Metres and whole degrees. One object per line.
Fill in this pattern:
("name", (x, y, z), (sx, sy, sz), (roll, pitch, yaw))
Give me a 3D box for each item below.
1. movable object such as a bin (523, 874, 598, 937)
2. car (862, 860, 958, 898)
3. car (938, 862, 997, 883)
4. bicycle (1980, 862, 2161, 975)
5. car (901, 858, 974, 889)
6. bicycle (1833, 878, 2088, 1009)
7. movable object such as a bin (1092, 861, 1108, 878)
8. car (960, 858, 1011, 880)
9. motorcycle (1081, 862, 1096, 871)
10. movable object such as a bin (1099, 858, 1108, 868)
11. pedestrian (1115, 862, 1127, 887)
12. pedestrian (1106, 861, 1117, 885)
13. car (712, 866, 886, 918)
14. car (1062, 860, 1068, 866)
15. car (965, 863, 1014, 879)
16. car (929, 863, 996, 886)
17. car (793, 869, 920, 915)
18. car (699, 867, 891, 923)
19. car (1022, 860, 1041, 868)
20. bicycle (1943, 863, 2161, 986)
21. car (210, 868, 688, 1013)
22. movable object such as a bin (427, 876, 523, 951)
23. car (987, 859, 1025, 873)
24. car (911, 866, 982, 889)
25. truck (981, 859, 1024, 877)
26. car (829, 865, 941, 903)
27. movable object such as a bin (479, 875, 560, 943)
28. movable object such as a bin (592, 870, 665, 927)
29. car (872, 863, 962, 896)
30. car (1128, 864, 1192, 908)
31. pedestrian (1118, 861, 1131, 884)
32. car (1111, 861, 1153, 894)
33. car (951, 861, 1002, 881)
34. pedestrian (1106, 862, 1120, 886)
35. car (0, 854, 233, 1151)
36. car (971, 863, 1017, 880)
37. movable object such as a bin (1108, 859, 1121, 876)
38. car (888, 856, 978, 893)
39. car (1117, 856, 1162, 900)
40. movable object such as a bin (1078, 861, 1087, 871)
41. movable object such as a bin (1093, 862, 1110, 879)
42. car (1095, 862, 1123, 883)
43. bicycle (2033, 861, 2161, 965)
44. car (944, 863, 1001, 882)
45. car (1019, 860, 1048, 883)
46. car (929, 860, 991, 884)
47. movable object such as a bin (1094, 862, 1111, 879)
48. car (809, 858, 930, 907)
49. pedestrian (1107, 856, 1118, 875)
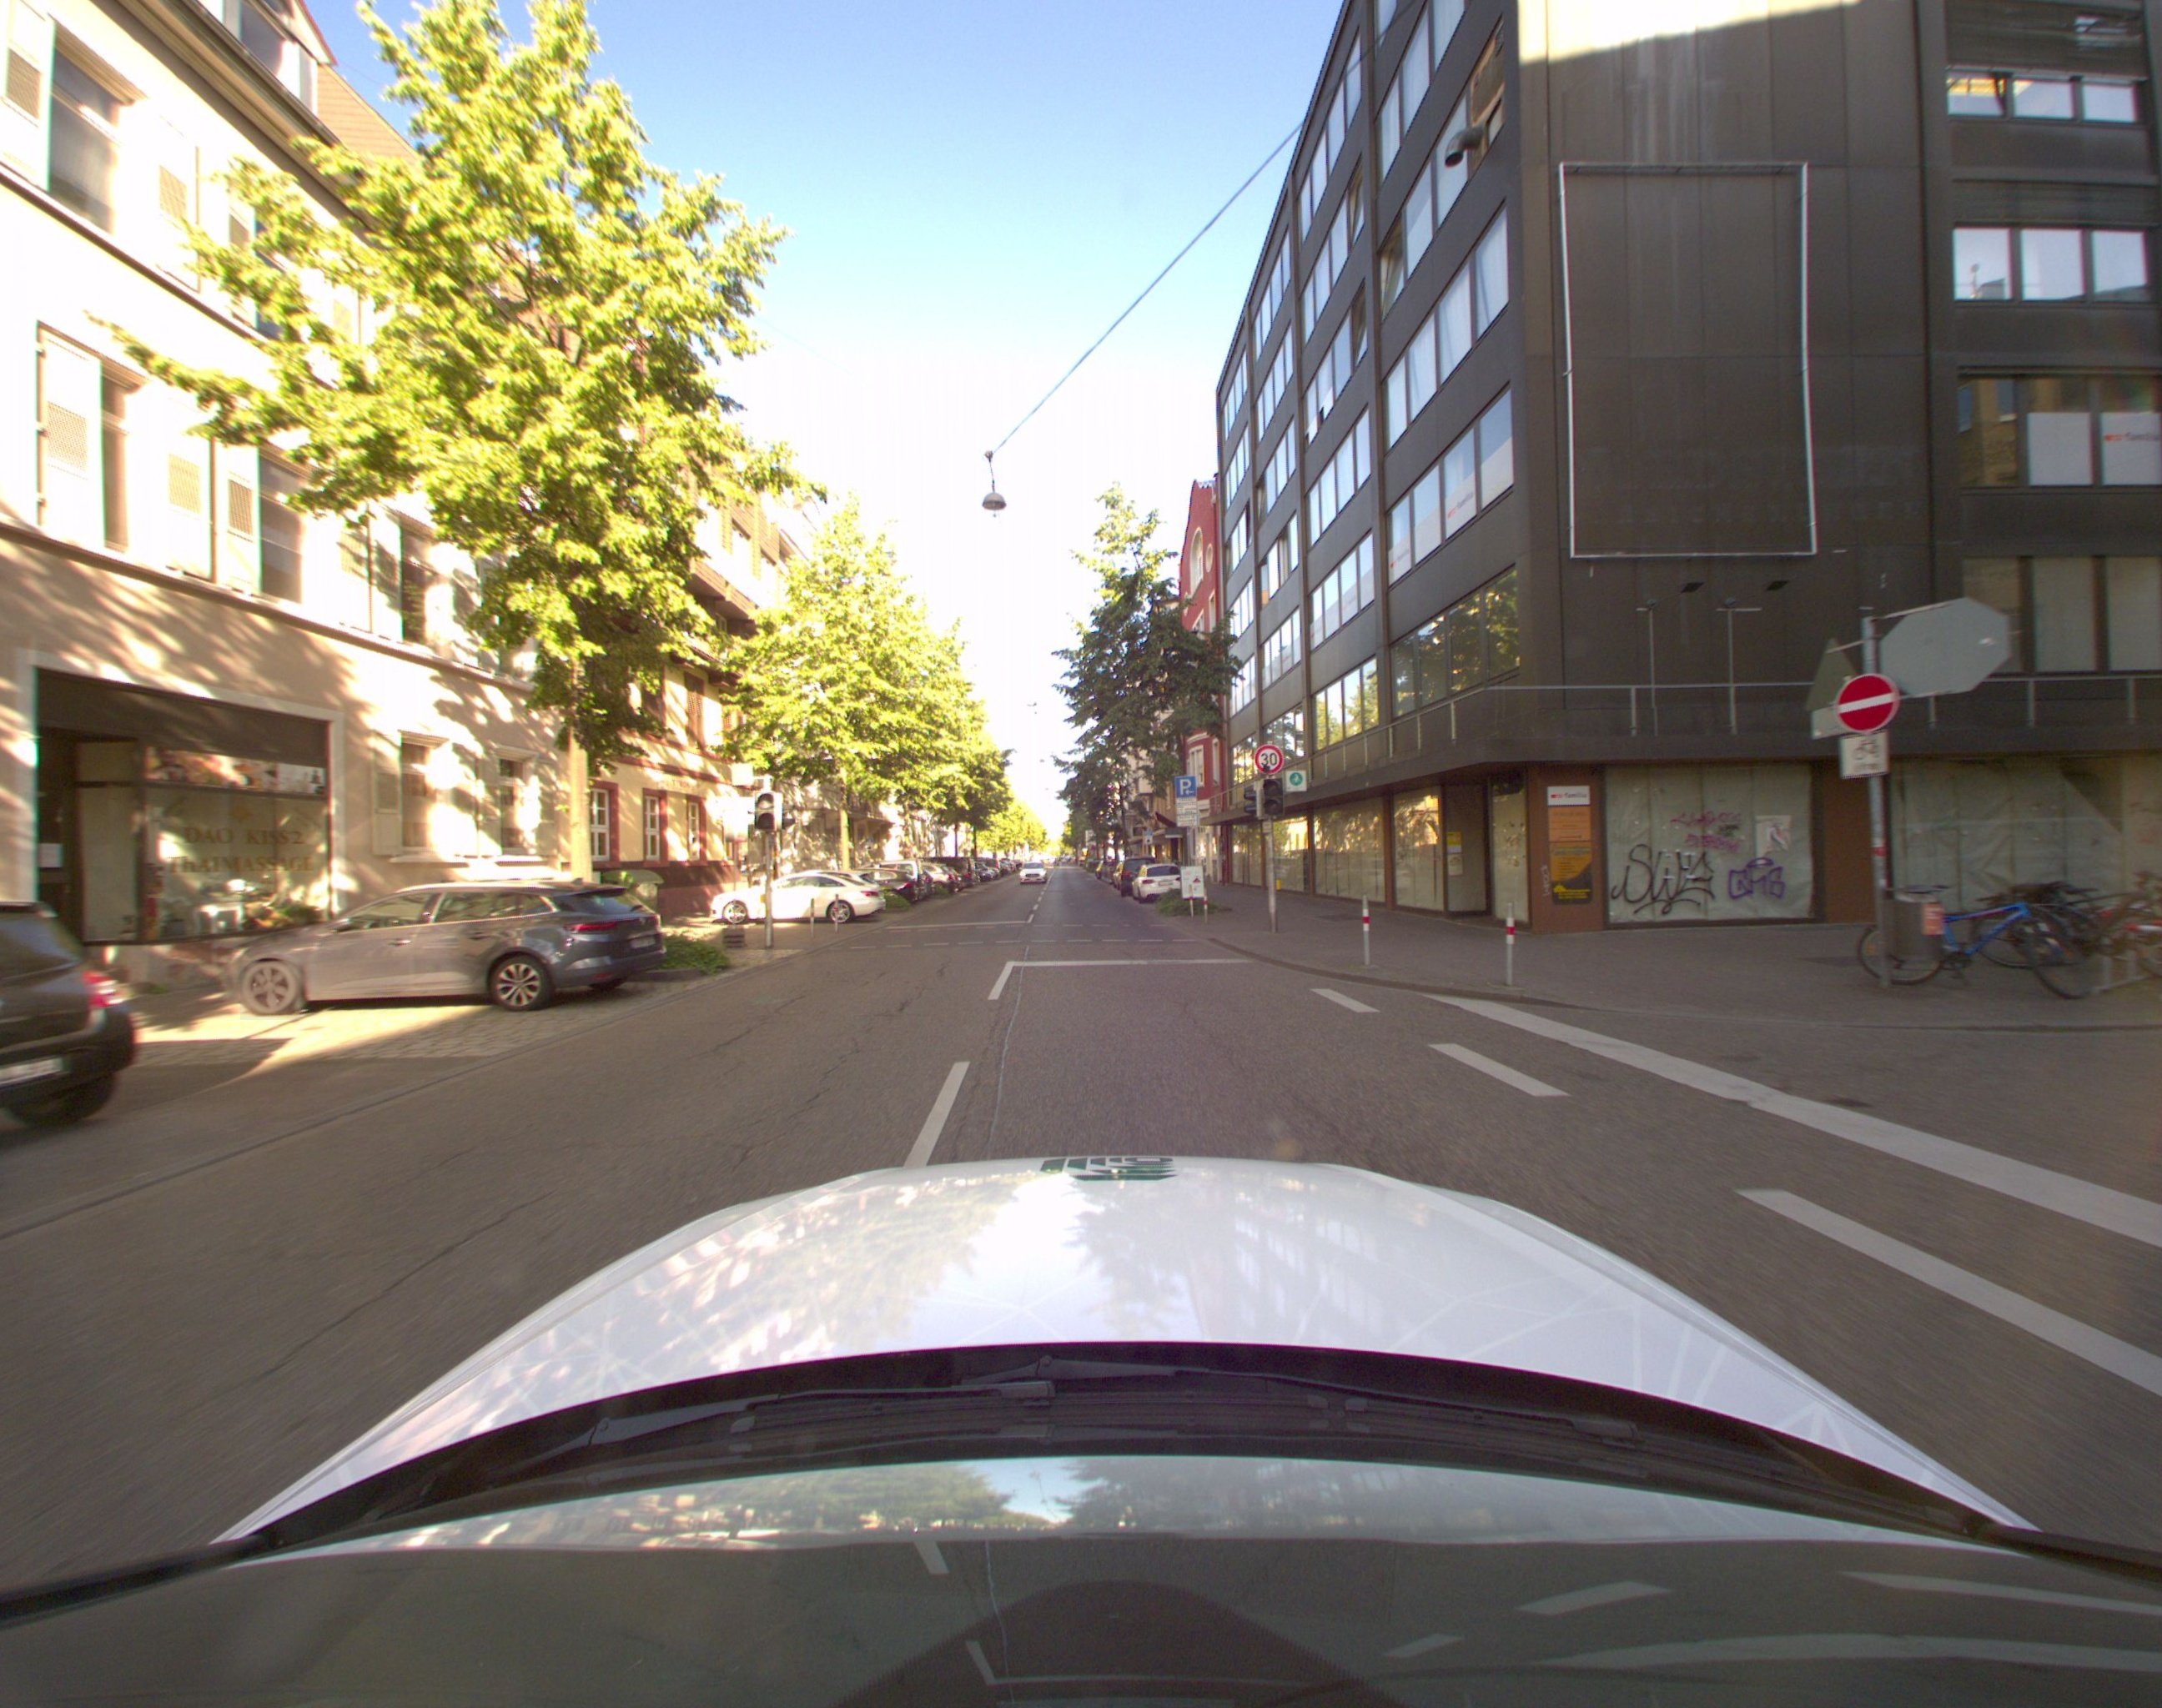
("movable object such as a bin", (-11.853, 1.145, 18.592), (0.814, 1.362, 1.346), (-1, -1, 2))
("car", (-8.329, 1.205, 39.878), (4.330, 1.733, 1.914), (-1, -1, -4))
("car", (-9.059, 1.469, 65.169), (4.455, 1.541, 1.915), (-1, -1, -3))
("bicycle", (11.605, 0.710, 9.160), (0.575, 1.132, 1.908), (-1, 2, -30))
("car", (-8.804, 1.169, 49.986), (4.342, 1.834, 1.909), (-1, -1, -12))
("bicycle", (8.915, 0.850, 8.338), (0.576, 1.161, 1.724), (-1, 0, -41))
("movable object such as a bin", (1.744, 1.422, 74.344), (1.327, 1.542, 1.145), (-2, -1, -2))
("car", (-9.039, 1.420, 77.332), (4.666, 1.950, 1.916), (-1, -1, -1))
("motorcycle", (1.123, 1.875, 122.183), (1.980, 1.330, 0.907), (-1, 0, -14))
("movable object such as a bin", (3.571, 1.427, 130.045), (1.203, 1.627, 1.496), (-2, -1, -3))
("pedestrian", (2.591, 1.314, 52.321), (0.690, 1.536, 0.776), (-2, -1, -1))
("pedestrian", (2.059, 1.278, 54.719), (0.649, 1.536, 0.979), (-2, -1, -3))
("car", (-8.574, 1.150, 25.139), (4.694, 1.492, 1.996), (0, 0, -7))
("car", (-4.338, 2.471, 221.195), (1.787, 1.411, 3.997), (-2, 0, -2))
("car", (-9.076, 1.662, 80.921), (4.633, 1.459, 1.682), (-1, -1, -2))
("car", (-8.417, 1.478, 58.240), (4.451, 1.541, 1.916), (-1, -1, 0))
("car", (-8.137, 1.338, 29.842), (4.344, 1.544, 1.955), (-1, -1, -14))
("car", (-7.856, 1.121, 22.812), (4.694, 1.492, 1.995), (0, -2, -7))
("car", (-11.160, 2.207, 182.931), (3.970, 1.694, 2.002), (-2, 0, 3))
("bicycle", (10.958, 0.735, 8.912), (0.575, 1.161, 1.999), (-1, 2, -30))
("car", (-7.479, 0.977, 10.010), (4.325, 1.544, 1.944), (-1, -1, 0))
("movable object such as a bin", (-11.854, 1.139, 15.986), (0.906, 1.367, 1.261), (-1, -1, 2))
("car", (-9.644, 1.580, 104.798), (4.666, 1.693, 1.807), (-1, -1, -1))
("car", (-8.710, 1.499, 52.880), (4.330, 1.439, 1.914), (-1, -1, -4))
("truck", (-9.545, 1.706, 99.304), (5.072, 1.938, 1.998), (-2, -1, -3))
("car", (-8.413, 1.263, 35.191), (4.322, 1.544, 1.918), (-1, -1, 2))
("movable object such as a bin", (-11.872, 1.145, 17.267), (0.826, 1.355, 1.249), (-1, -1, 2))
("movable object such as a bin", (-11.813, 1.140, 21.316), (1.129, 1.445, 1.382), (-1, -1, 2))
("car", (-8.444, 1.285, 42.225), (4.330, 1.595, 1.914), (-1, -1, -4))
("car", (2.947, 1.166, 31.284), (1.817, 1.402, 4.839), (-4, 0, -1))
("pedestrian", (2.904, 1.234, 54.722), (0.706, 1.536, 0.772), (-2, -1, 13))
("car", (2.696, 1.232, 44.068), (1.817, 1.596, 4.838), (-4, 0, -1))
("car", (-9.530, 1.535, 74.574), (4.452, 1.772, 1.916), (-1, -1, -1))
("pedestrian", (2.086, 1.296, 53.420), (0.744, 1.536, 0.810), (-2, -1, 13))
("car", (-7.966, 0.844, 4.674), (3.979, 1.640, 1.942), (-1, -1, -4))
("car", (-9.176, 1.835, 86.320), (4.666, 1.712, 1.807), (-1, -1, -1))
("movable object such as a bin", (3.043, 1.226, 74.397), (1.074, 1.431, 1.294), (-2, -1, -2))
("car", (-8.105, 1.130, 44.816), (4.558, 1.927, 1.930), (-1, -1, 0))
("car", (2.647, 1.038, 37.705), (1.815, 1.777, 4.933), (-4, 0, 2))
("movable object such as a bin", (0.264, 1.891, 132.488), (1.136, 1.562, 1.462), (-2, -1, 7))
("movable object such as a bin", (1.820, 1.447, 73.182), (1.395, 1.454, 1.145), (-2, -1, -2))
("car", (2.127, 1.396, 63.470), (1.817, 1.472, 4.908), (-4, 0, -1))
("bicycle", (12.491, 0.687, 9.471), (0.574, 1.132, 1.731), (-1, 2, -26))
("car", (-9.030, 1.544, 67.925), (4.449, 1.541, 1.917), (-1, -1, 1))
("car", (-3.282, 1.184, 57.226), (1.905, 1.544, 4.350), (-1, -1, -2))
("car", (-8.980, 1.321, 60.710), (4.328, 1.709, 1.915), (-1, -1, -2))
("movable object such as a bin", (1.896, 1.437, 72.006), (1.395, 1.454, 1.145), (-2, -1, -2))
("car", (-8.383, 1.123, 32.560), (4.325, 1.824, 1.930), (-1, -1, 0))
("pedestrian", (3.407, 1.231, 87.575), (0.917, 1.936, 0.765), (-2, -1, 23))
